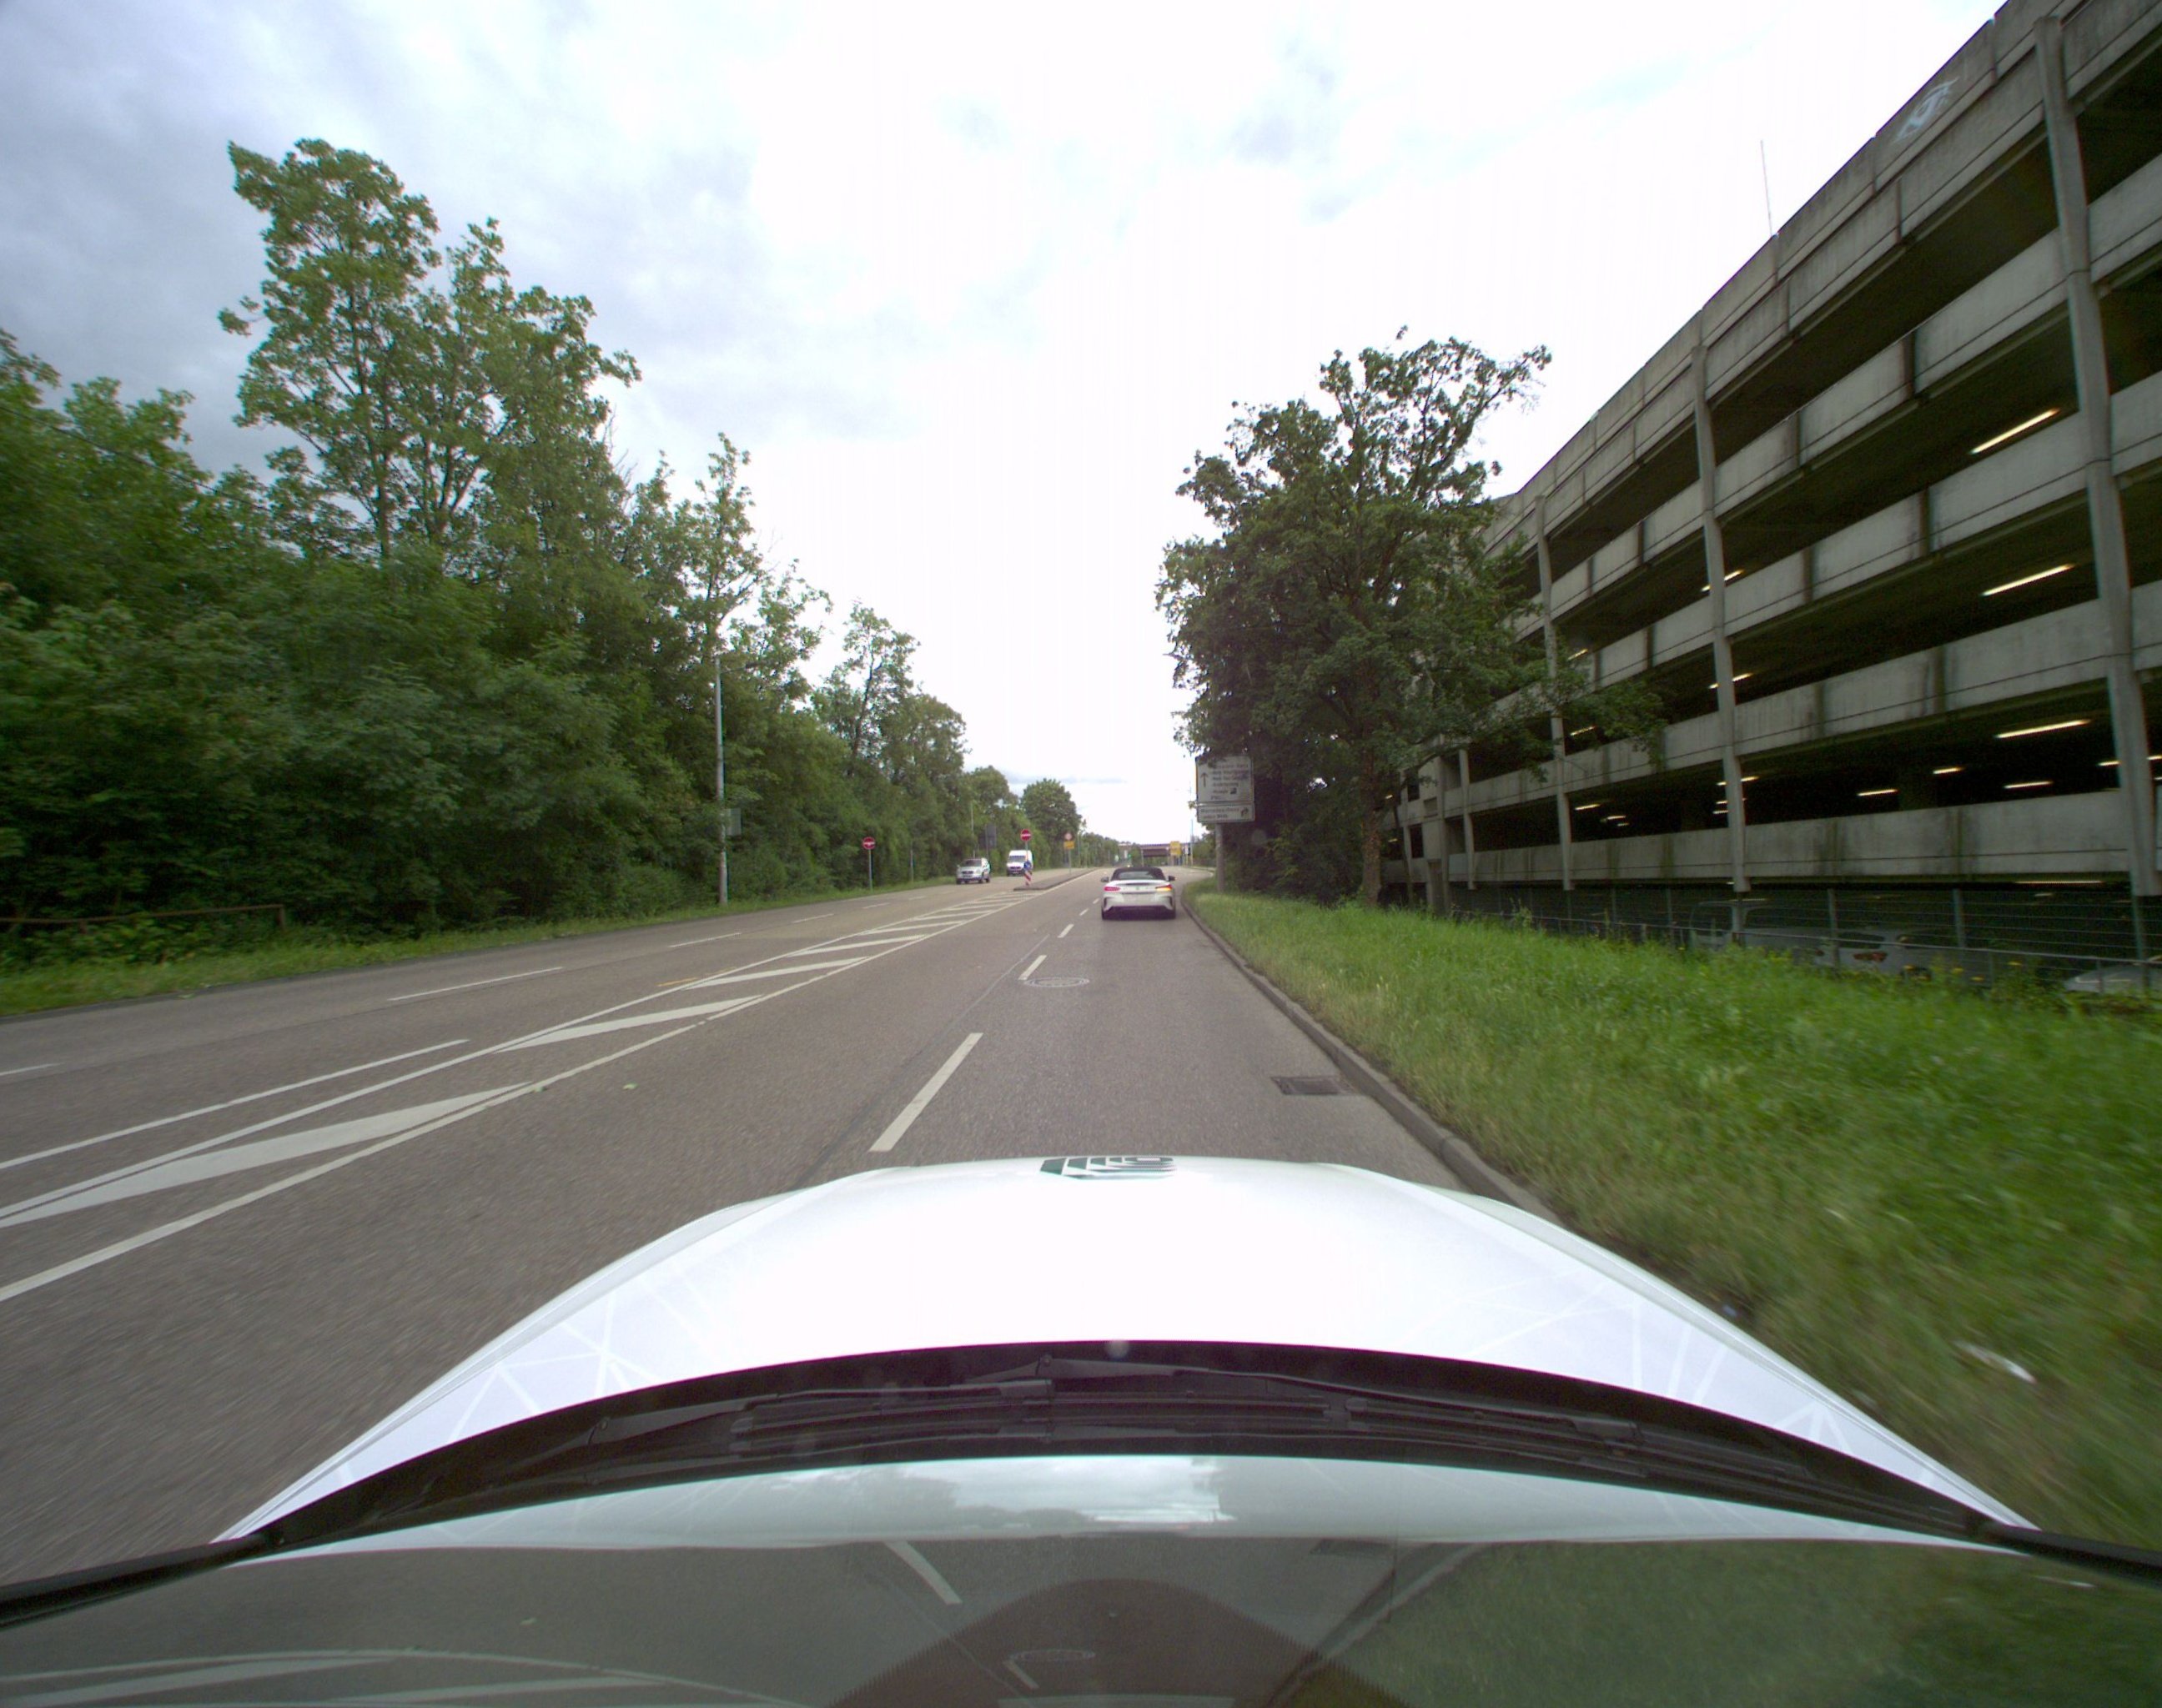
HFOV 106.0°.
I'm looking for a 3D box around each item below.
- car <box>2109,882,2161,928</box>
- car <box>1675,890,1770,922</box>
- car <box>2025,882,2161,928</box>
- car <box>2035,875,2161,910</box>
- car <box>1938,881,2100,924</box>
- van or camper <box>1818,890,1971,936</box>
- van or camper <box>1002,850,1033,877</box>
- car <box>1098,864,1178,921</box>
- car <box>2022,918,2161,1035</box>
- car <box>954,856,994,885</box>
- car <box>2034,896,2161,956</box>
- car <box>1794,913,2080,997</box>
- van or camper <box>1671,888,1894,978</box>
[{"bbox_3d":[34.068,1.476,24.567,3.678,1.307,1.789,-3,-3,2],"label":"car"},{"bbox_3d":[30.887,2.500,39.290,3.186,1.307,1.570,-3,-3,6],"label":"car"},{"bbox_3d":[34.539,1.689,27.254,3.678,1.307,1.789,-3,-3,2],"label":"car"},{"bbox_3d":[46.211,1.737,36.905,3.678,1.307,1.789,-3,-3,2],"label":"car"},{"bbox_3d":[34.066,1.759,29.658,3.678,1.307,1.789,-3,-3,2],"label":"car"},{"bbox_3d":[29.699,2.140,29.817,3.697,1.409,1.728,-3,-2,3],"label":"van or camper"},{"bbox_3d":[-6.356,0.999,82.288,2.273,2.555,6.863,1,-2,3],"label":"van or camper"},{"bbox_3d":[1.470,0.951,21.530,1.867,1.309,3.876,-2,-1,3],"label":"car"},{"bbox_3d":[17.866,1.798,12.613,4.240,1.506,1.949,-3,-2,0],"label":"car"},{"bbox_3d":[-7.400,1.084,56.815,1.804,1.830,4.390,-2,0,5],"label":"car"},{"bbox_3d":[28.640,1.905,21.942,3.644,1.357,1.676,-3,-2,5],"label":"car"},{"bbox_3d":[18.166,2.121,17.460,3.991,1.436,1.949,-3,-2,0],"label":"car"},{"bbox_3d":[17.803,1.969,20.820,3.991,1.954,1.840,-3,-2,0],"label":"van or camper"}]
